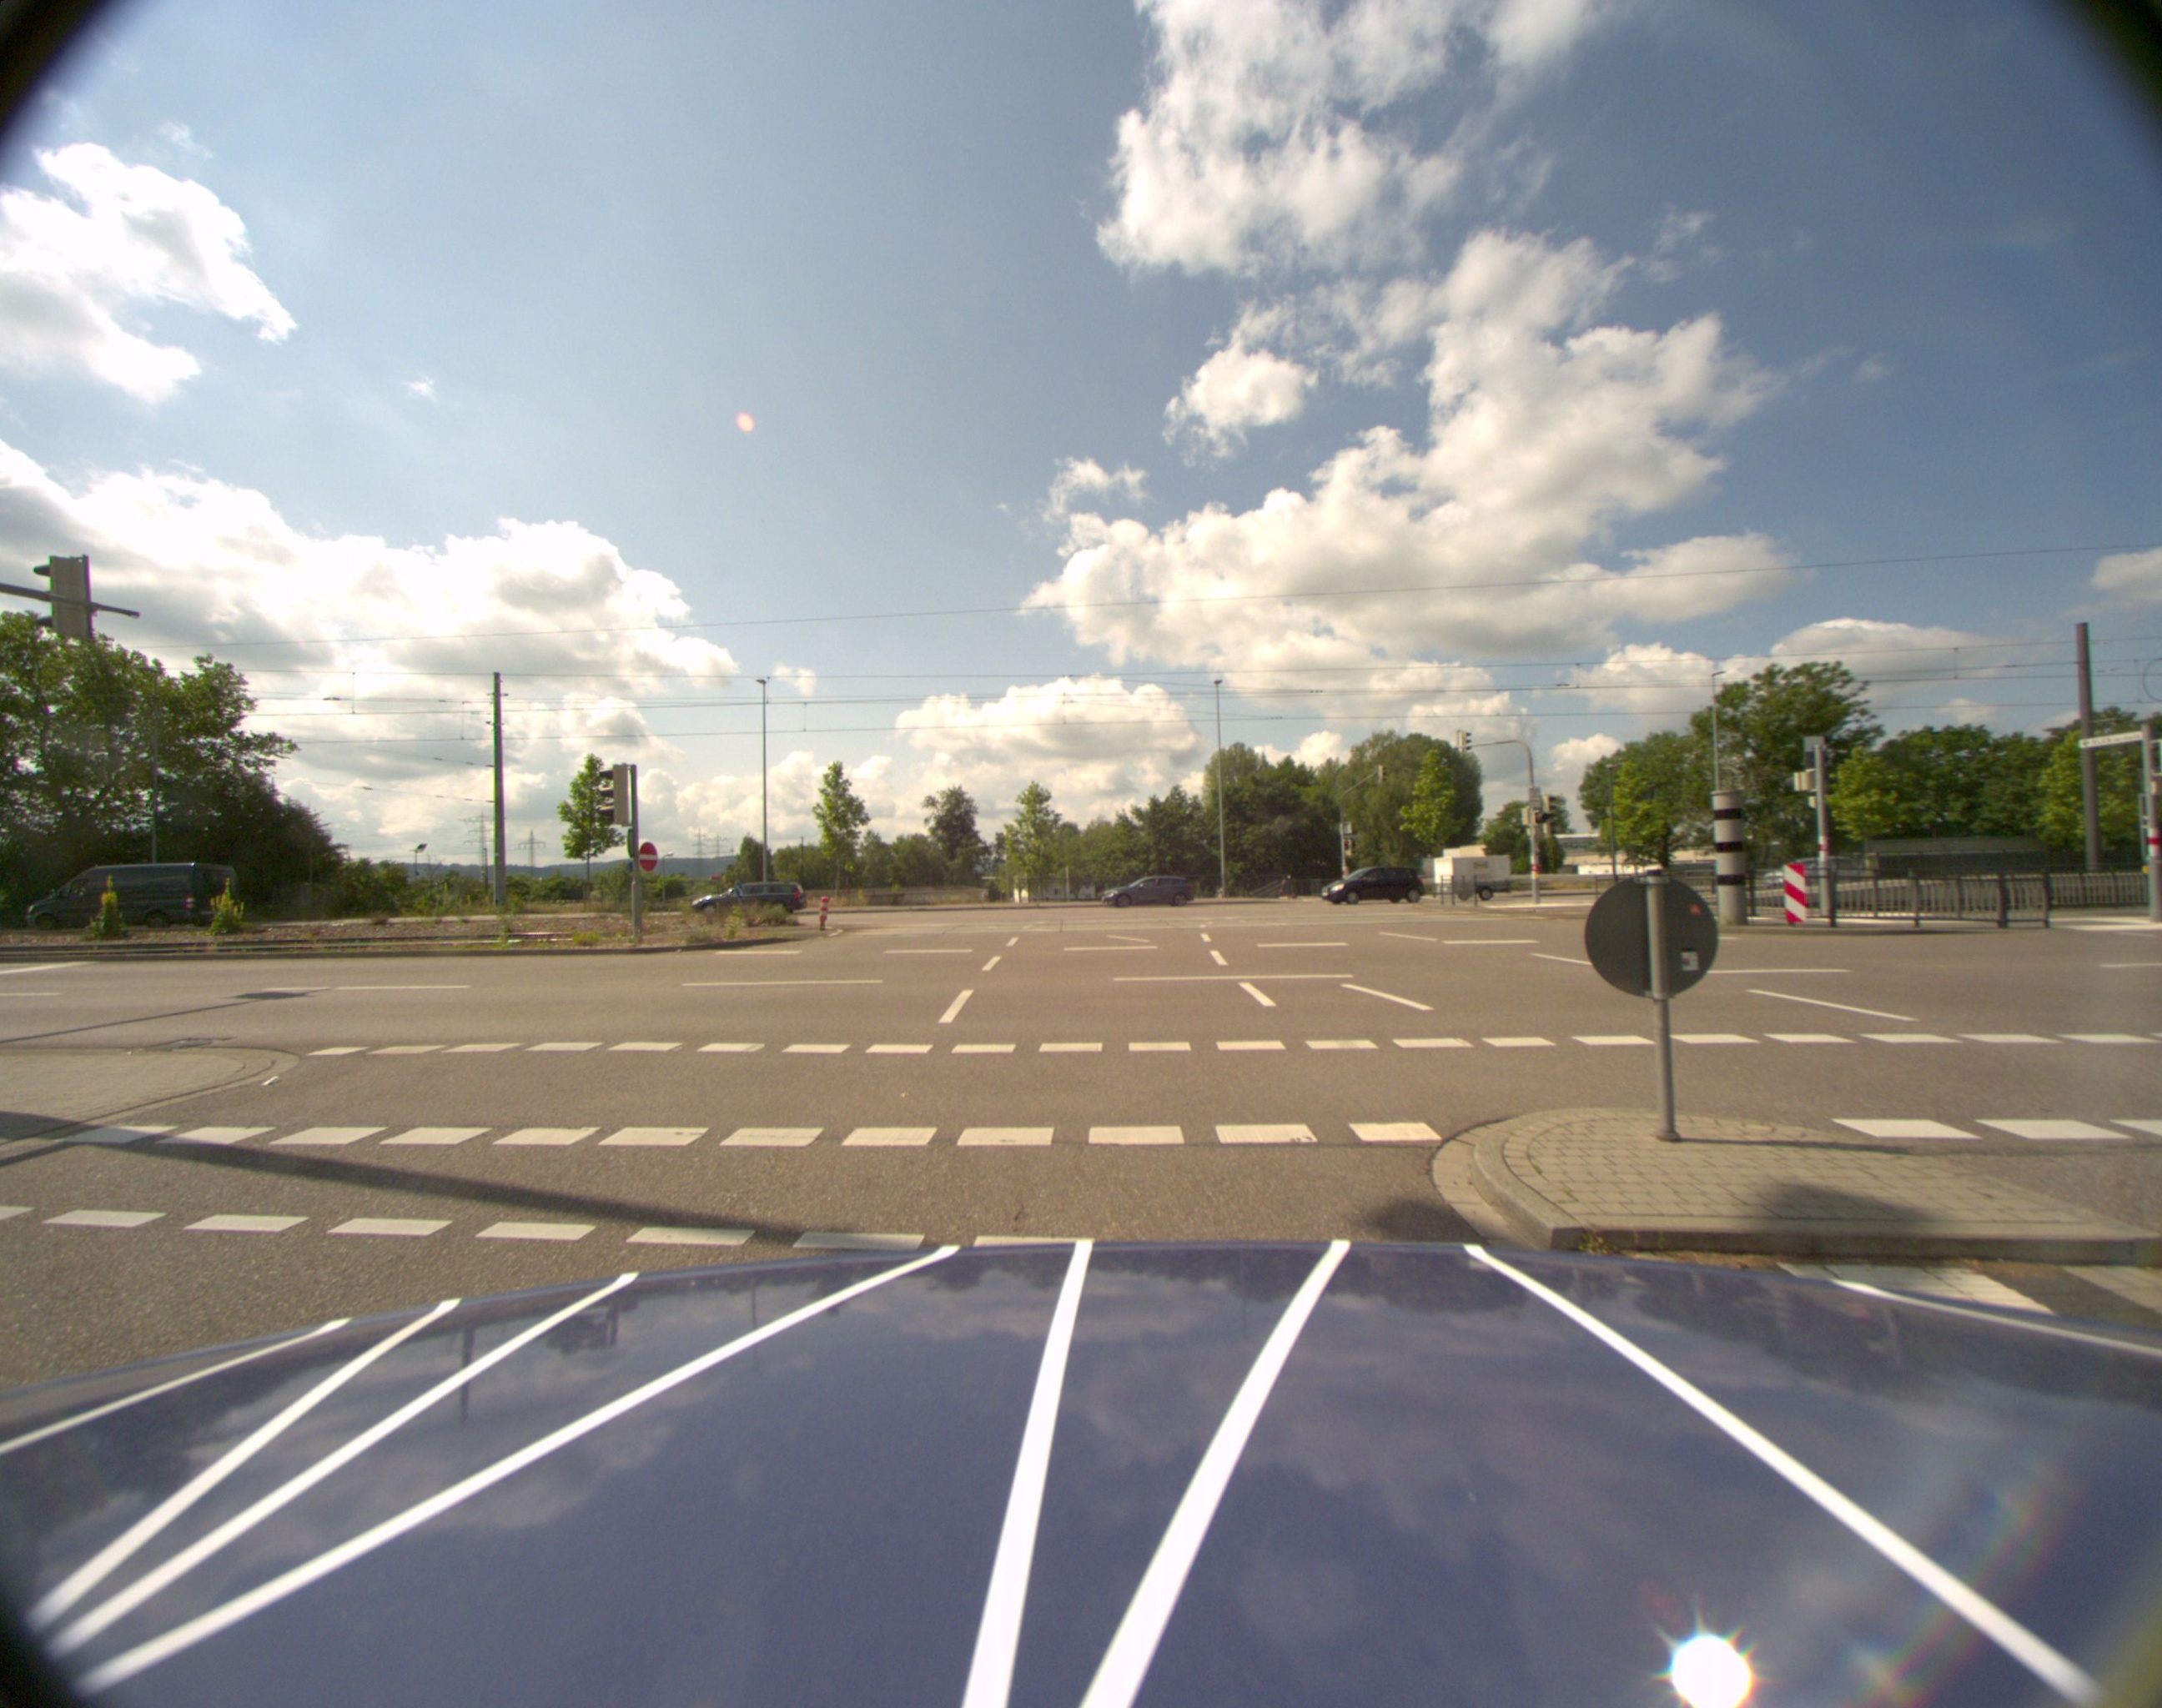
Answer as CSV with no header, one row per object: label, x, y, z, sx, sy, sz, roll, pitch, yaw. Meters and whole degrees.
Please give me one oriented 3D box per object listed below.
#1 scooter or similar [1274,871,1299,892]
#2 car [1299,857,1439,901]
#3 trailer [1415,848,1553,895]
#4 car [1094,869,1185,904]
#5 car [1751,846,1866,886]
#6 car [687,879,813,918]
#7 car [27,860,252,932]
scooter or similar,11.441,1.528,42.250,1.249,1.092,0.343,-1,-1,-2
car,12.309,1.054,32.628,5.251,1.564,1.999,-3,-1,-7
trailer,17.552,0.729,33.216,5.181,1.820,1.824,-2,0,-6
car,2.758,1.531,36.171,4.068,1.439,1.729,-2,0,-5
car,32.745,0.530,34.265,3.489,1.447,1.701,-5,2,0
car,-14.552,1.962,33.693,4.783,1.498,1.966,-1,-3,-11
car,-37.067,1.658,30.096,5.676,2.588,1.992,-1,-3,-8
